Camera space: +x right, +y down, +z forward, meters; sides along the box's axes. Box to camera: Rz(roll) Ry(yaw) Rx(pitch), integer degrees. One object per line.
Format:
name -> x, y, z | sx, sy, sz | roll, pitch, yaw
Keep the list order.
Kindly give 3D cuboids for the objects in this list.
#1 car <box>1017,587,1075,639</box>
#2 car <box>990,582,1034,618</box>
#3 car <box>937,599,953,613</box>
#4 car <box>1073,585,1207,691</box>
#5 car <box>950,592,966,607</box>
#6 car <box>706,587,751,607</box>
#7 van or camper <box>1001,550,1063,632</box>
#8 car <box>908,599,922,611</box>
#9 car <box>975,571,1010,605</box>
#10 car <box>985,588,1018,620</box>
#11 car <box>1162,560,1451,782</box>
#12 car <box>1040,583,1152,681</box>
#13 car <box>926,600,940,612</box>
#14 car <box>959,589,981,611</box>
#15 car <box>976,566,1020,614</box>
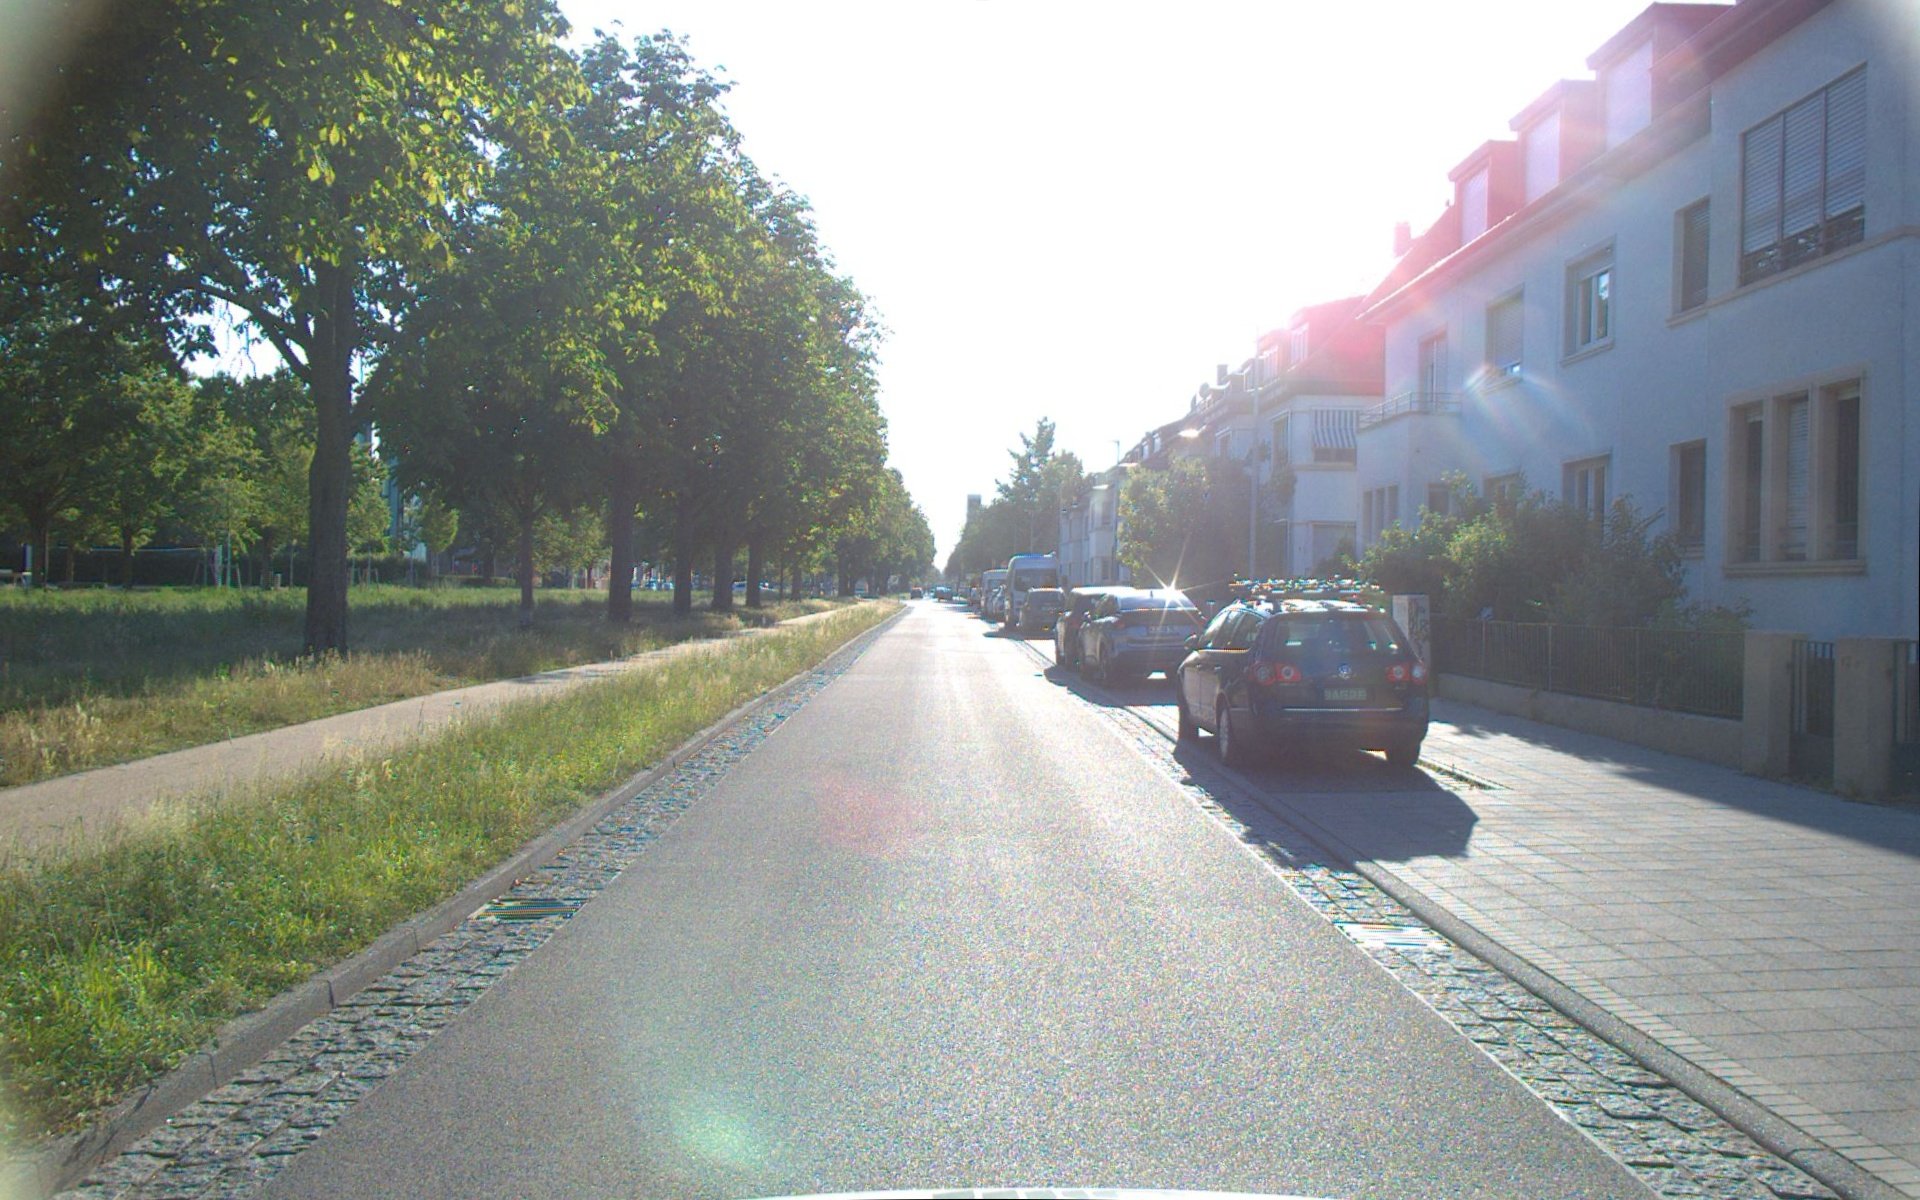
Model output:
car -> 2.799, 0.395, 54.411 | 1.630, 1.620, 4.085 | -1, 0, 0
car -> 2.474, -0.036, 79.532 | 1.800, 1.664, 4.130 | 0, 1, -2
car -> -1.794, 0.743, 197.210 | 1.825, 1.625, 3.892 | 2, 0, -2
car -> 2.949, 0.579, 27.838 | 1.683, 1.601, 4.209 | -1, 0, -1
car -> -0.200, -0.057, 178.707 | 1.616, 1.557, 3.851 | 0, 1, 0
car -> -22.873, -0.309, 163.453 | 4.266, 1.795, 1.996 | 2, 0, -9
van or camper -> 2.595, -0.302, 61.011 | 1.904, 2.826, 5.939 | 2, 0, 0
car -> -6.225, 0.639, 229.159 | 1.825, 1.625, 3.869 | 2, 0, -2
car -> 2.040, -0.800, 105.045 | 2.083, 2.103, 5.188 | 0, 1, -1
car -> 2.113, 0.199, 84.943 | 1.616, 1.557, 3.851 | 0, 1, 0
car -> 3.148, 0.556, 15.934 | 1.757, 1.802, 4.472 | -1, 1, -1
car -> 2.670, 0.584, 33.448 | 1.795, 1.714, 4.415 | 3, 1, -1
car -> -3.704, 0.814, 228.070 | 1.825, 1.625, 3.869 | 2, 0, -2
car -> 0.723, -0.012, 122.856 | 1.616, 1.557, 3.851 | 0, 1, 0
car -> 2.069, -0.572, 91.183 | 2.084, 2.577, 5.186 | 0, 1, -3
